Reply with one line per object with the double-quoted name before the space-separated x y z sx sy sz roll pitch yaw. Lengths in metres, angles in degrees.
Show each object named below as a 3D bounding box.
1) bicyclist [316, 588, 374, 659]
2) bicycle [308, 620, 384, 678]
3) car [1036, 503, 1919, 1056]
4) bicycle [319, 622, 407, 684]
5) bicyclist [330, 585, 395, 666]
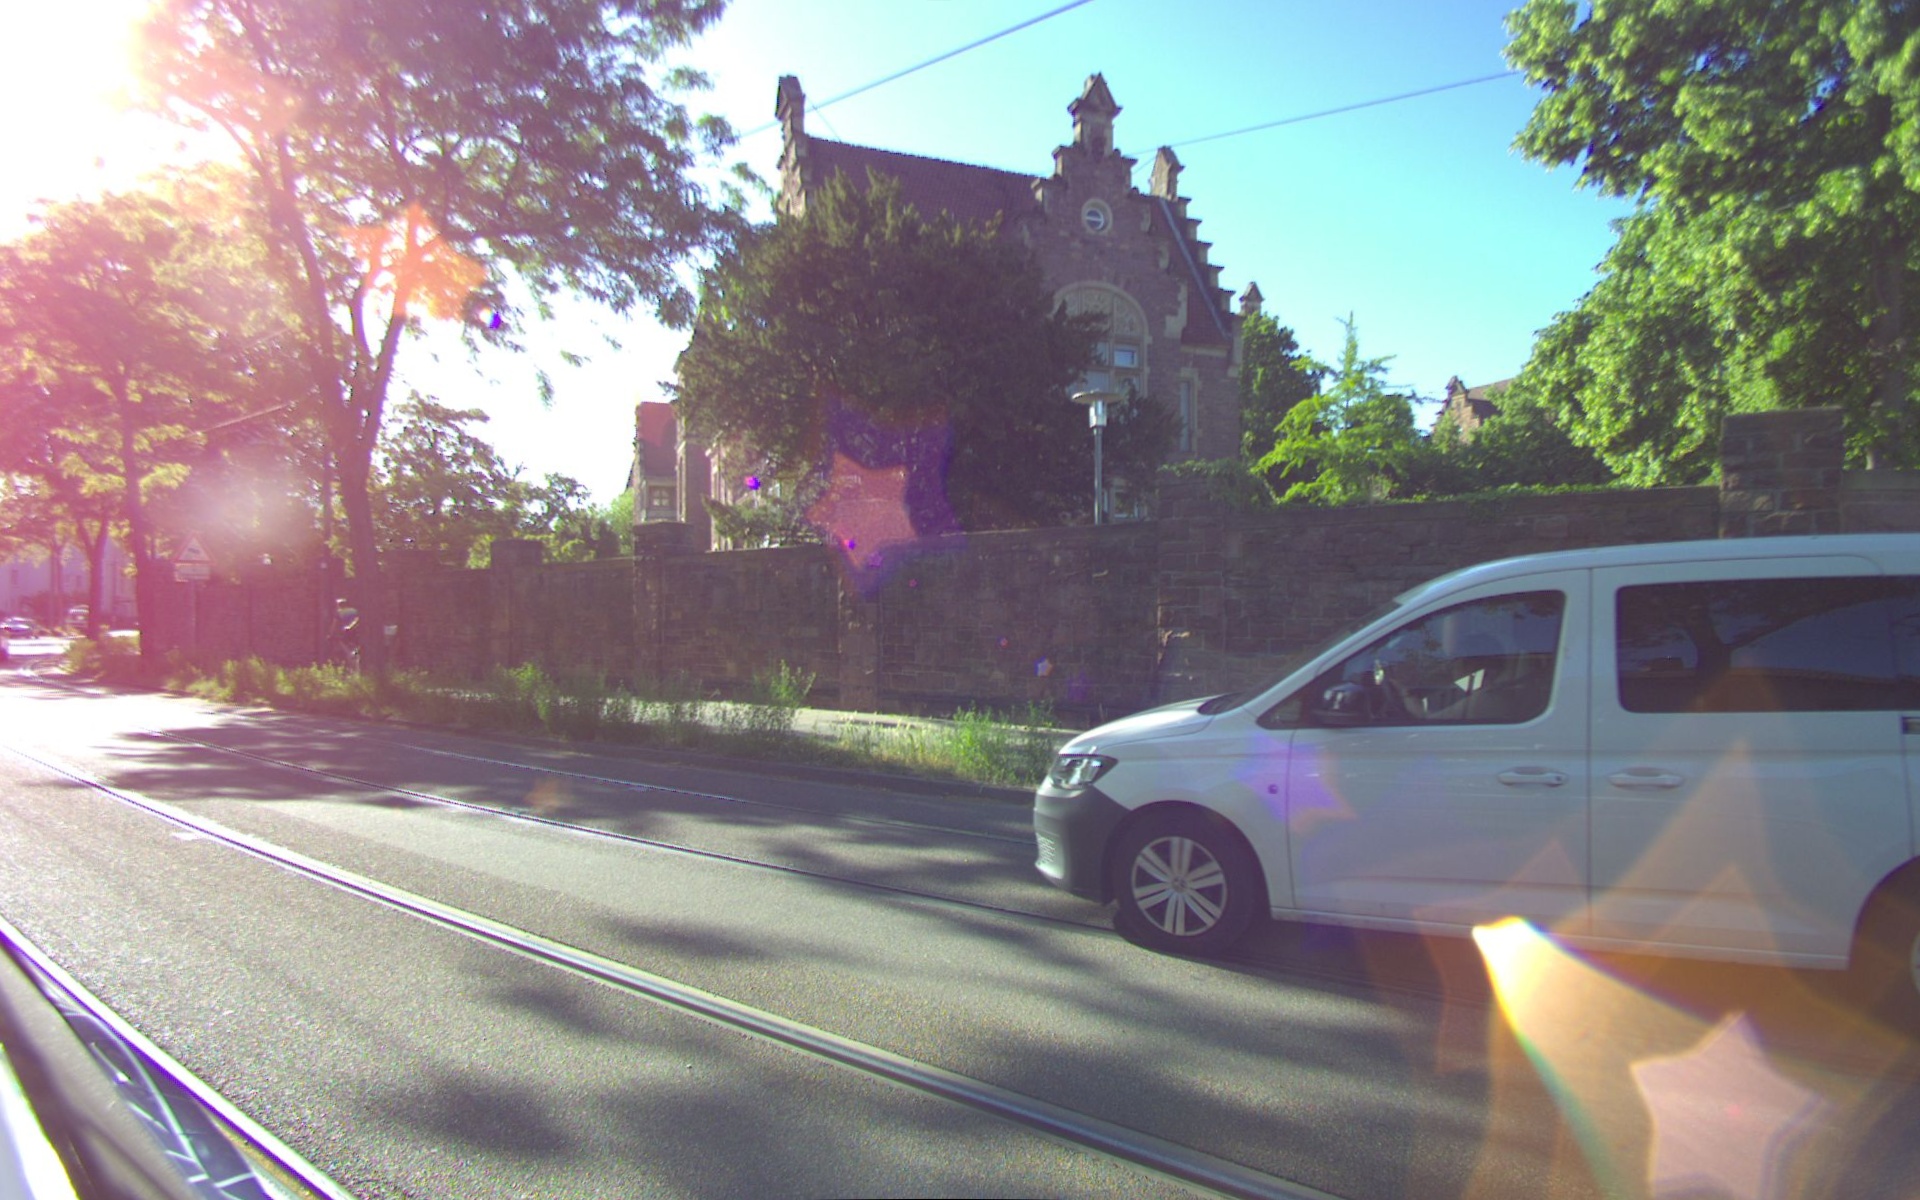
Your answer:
"bicyclist" -13.172 0.499 21.672 1.149 1.470 0.647 -1 -1 35
"bicycle" -13.130 1.017 21.640 1.851 1.097 0.678 3 1 35
"car" 2.640 0.600 4.561 4.232 1.801 1.817 -1 -1 26
"bicycle" -11.163 0.963 18.896 2.060 1.097 0.678 -1 -1 36
"bicyclist" -11.155 0.467 18.897 1.150 1.470 0.647 -1 -1 36
